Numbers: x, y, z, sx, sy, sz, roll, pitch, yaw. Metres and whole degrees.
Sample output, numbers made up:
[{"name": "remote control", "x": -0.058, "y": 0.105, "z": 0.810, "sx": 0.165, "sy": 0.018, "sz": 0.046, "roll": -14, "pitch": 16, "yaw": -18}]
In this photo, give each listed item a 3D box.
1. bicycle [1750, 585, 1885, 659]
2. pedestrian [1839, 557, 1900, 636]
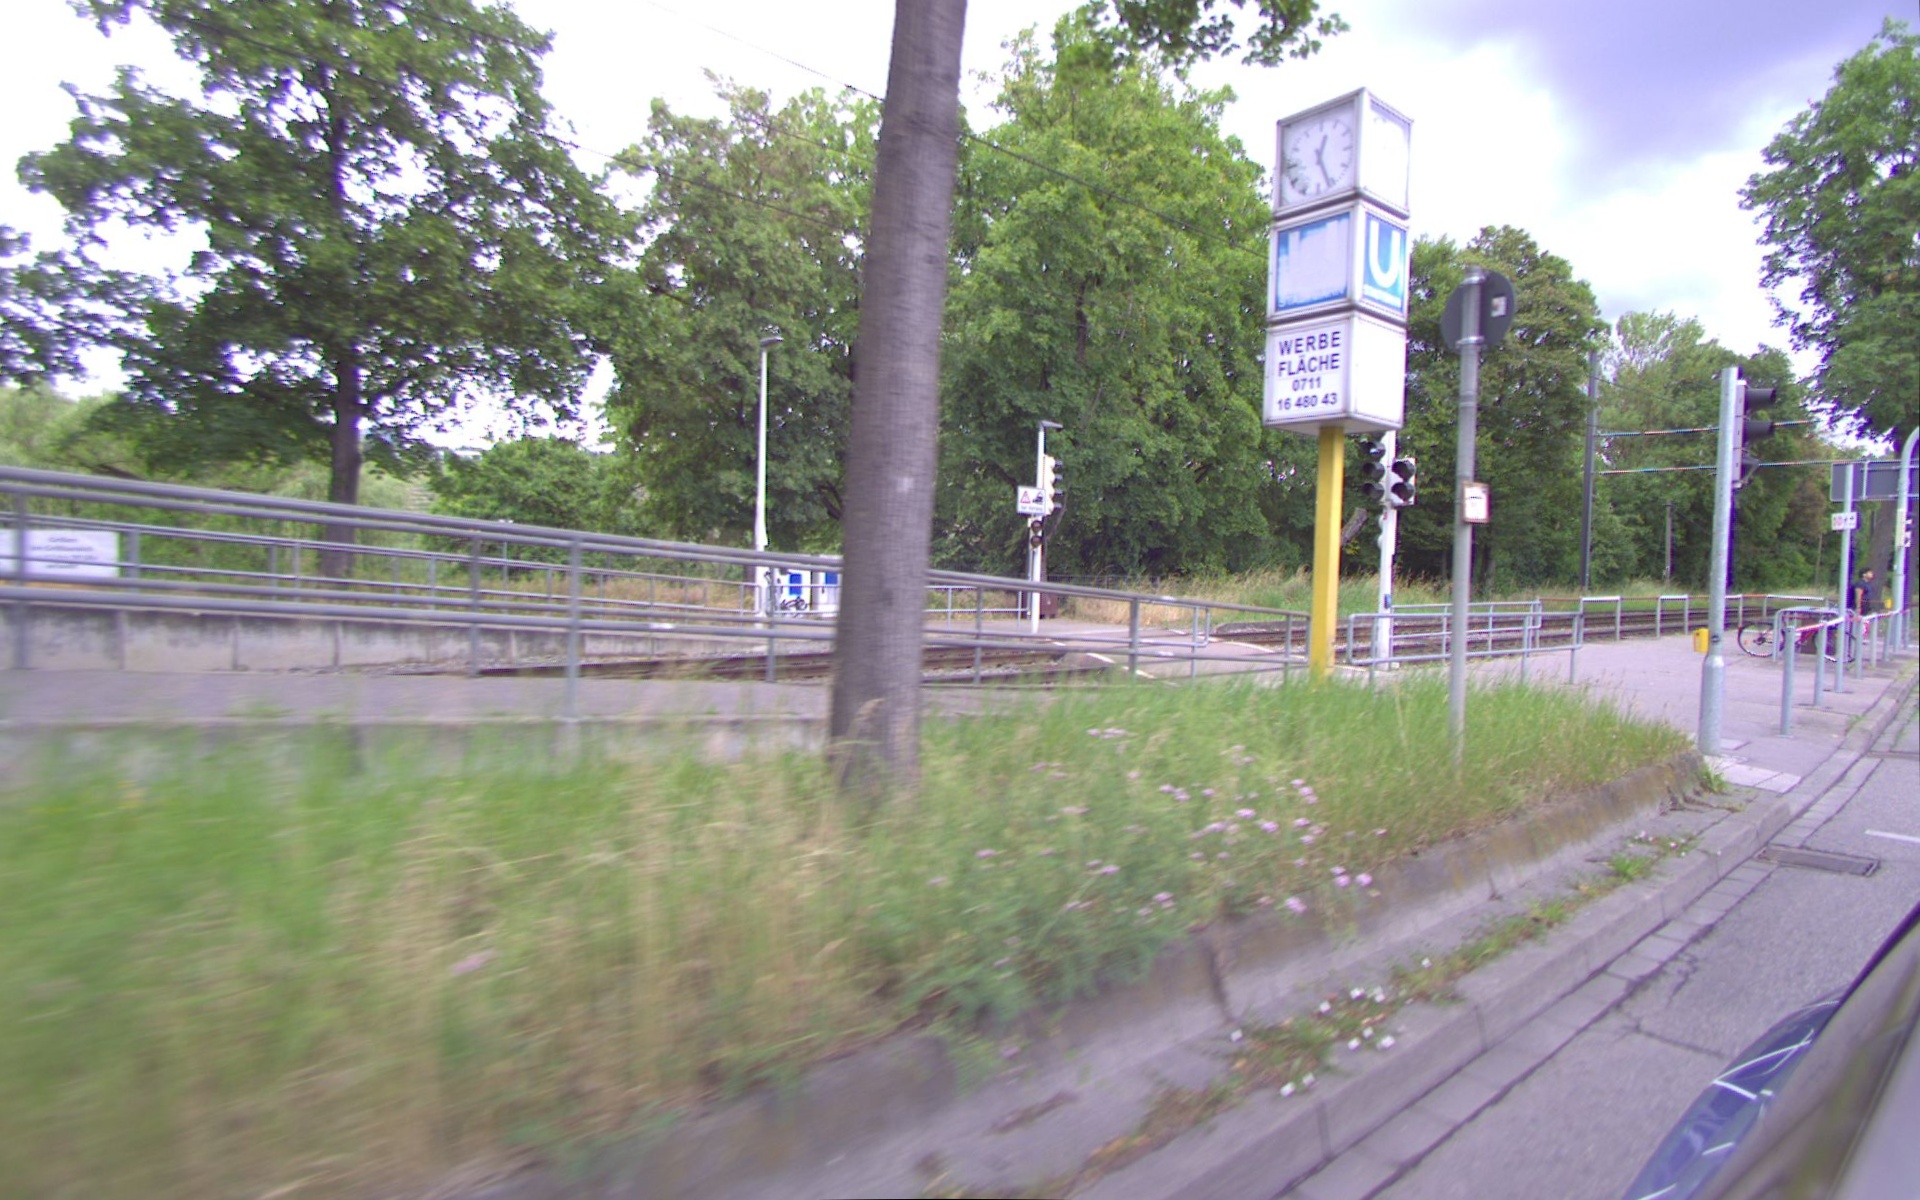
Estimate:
[{"name": "bicycle", "x": 14.915, "y": 0.356, "z": 17.641, "sx": 0.592, "sy": 1.103, "sz": 1.677, "roll": -1, "pitch": 6, "yaw": -43}, {"name": "pedestrian", "x": 21.052, "y": -0.100, "z": 23.427, "sx": 0.824, "sy": 1.758, "sz": 0.755, "roll": 0, "pitch": 5, "yaw": -35}]
